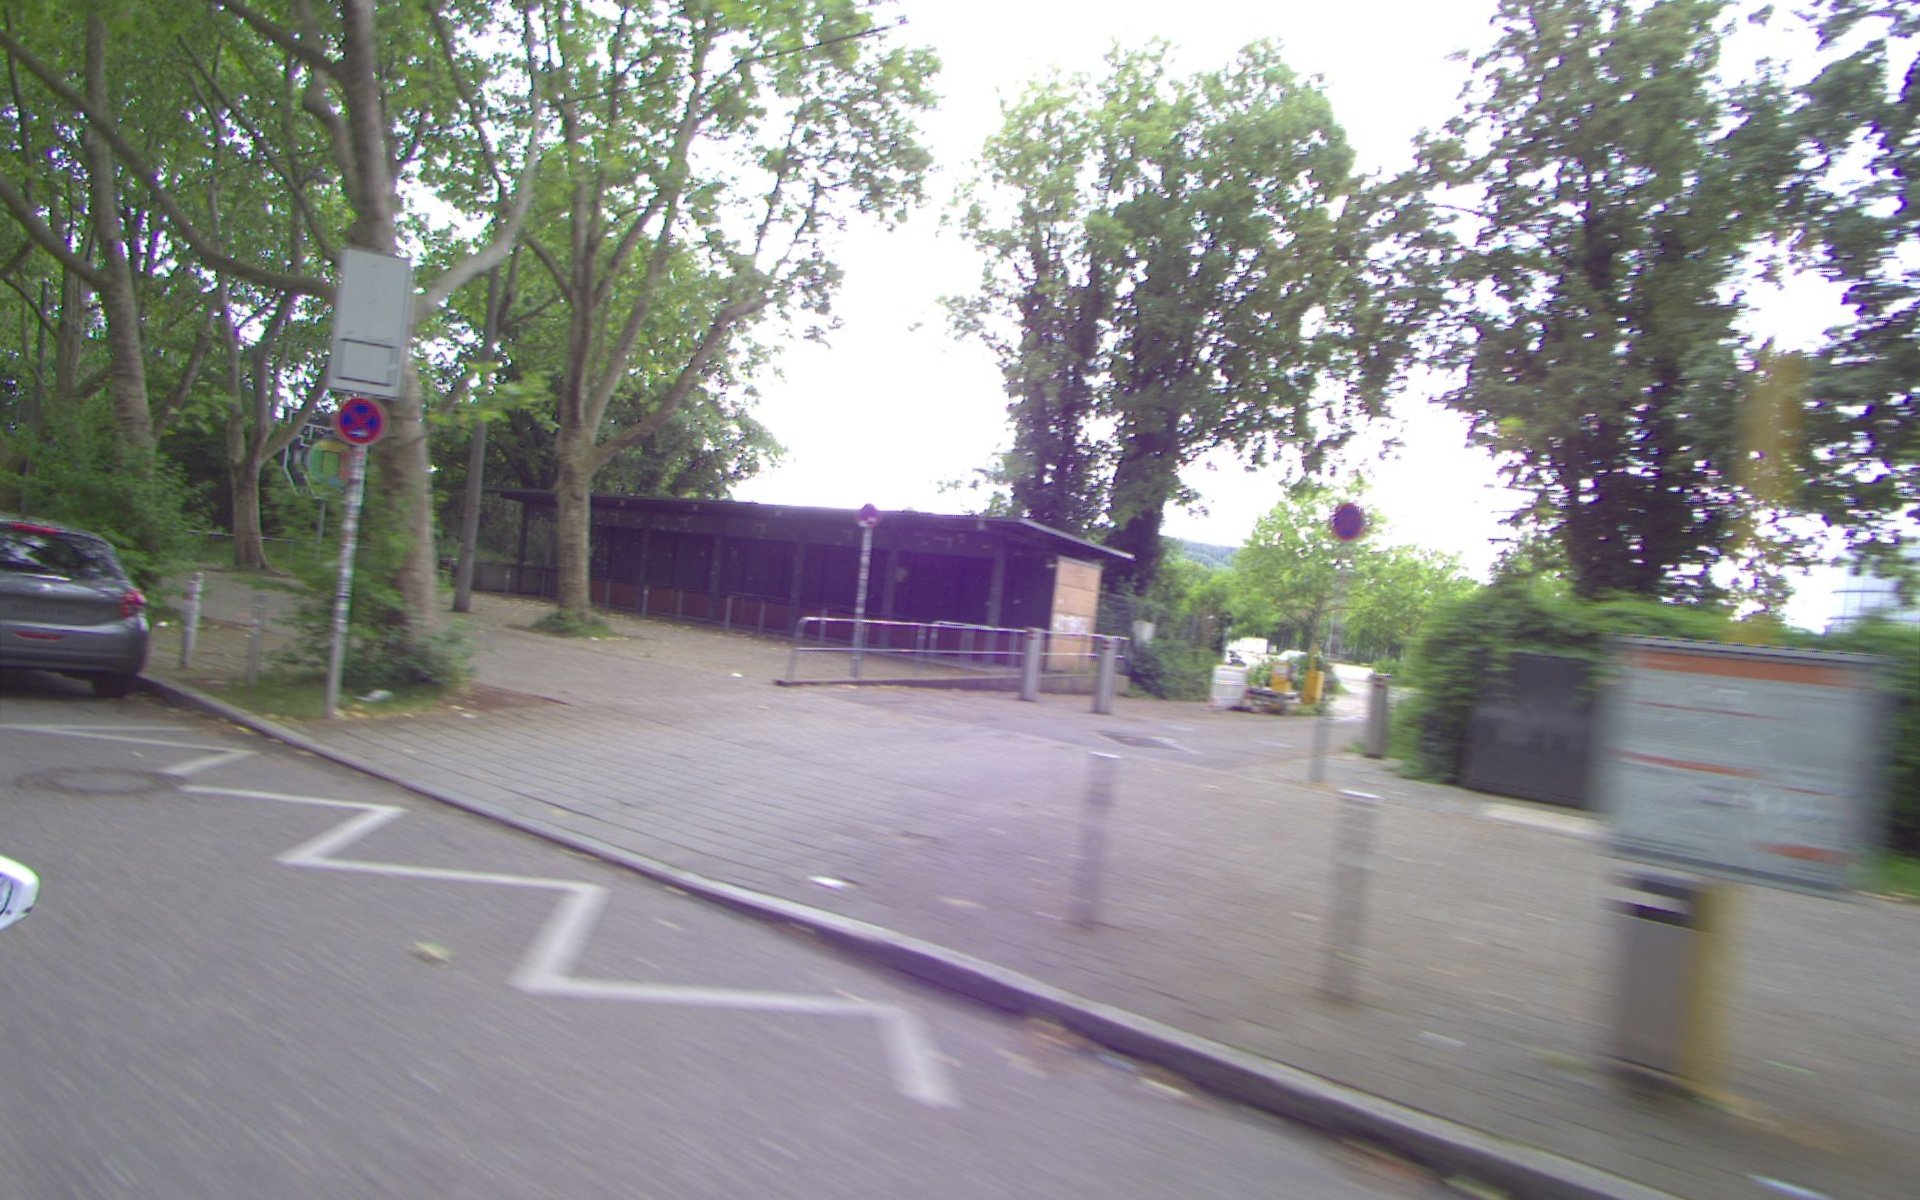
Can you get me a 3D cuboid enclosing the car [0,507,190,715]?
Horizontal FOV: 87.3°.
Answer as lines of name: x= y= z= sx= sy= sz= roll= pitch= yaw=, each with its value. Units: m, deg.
car: x=-9.039 y=-0.111 z=9.127 sx=4.381 sy=1.535 sz=1.704 roll=7 pitch=-4 yaw=32
